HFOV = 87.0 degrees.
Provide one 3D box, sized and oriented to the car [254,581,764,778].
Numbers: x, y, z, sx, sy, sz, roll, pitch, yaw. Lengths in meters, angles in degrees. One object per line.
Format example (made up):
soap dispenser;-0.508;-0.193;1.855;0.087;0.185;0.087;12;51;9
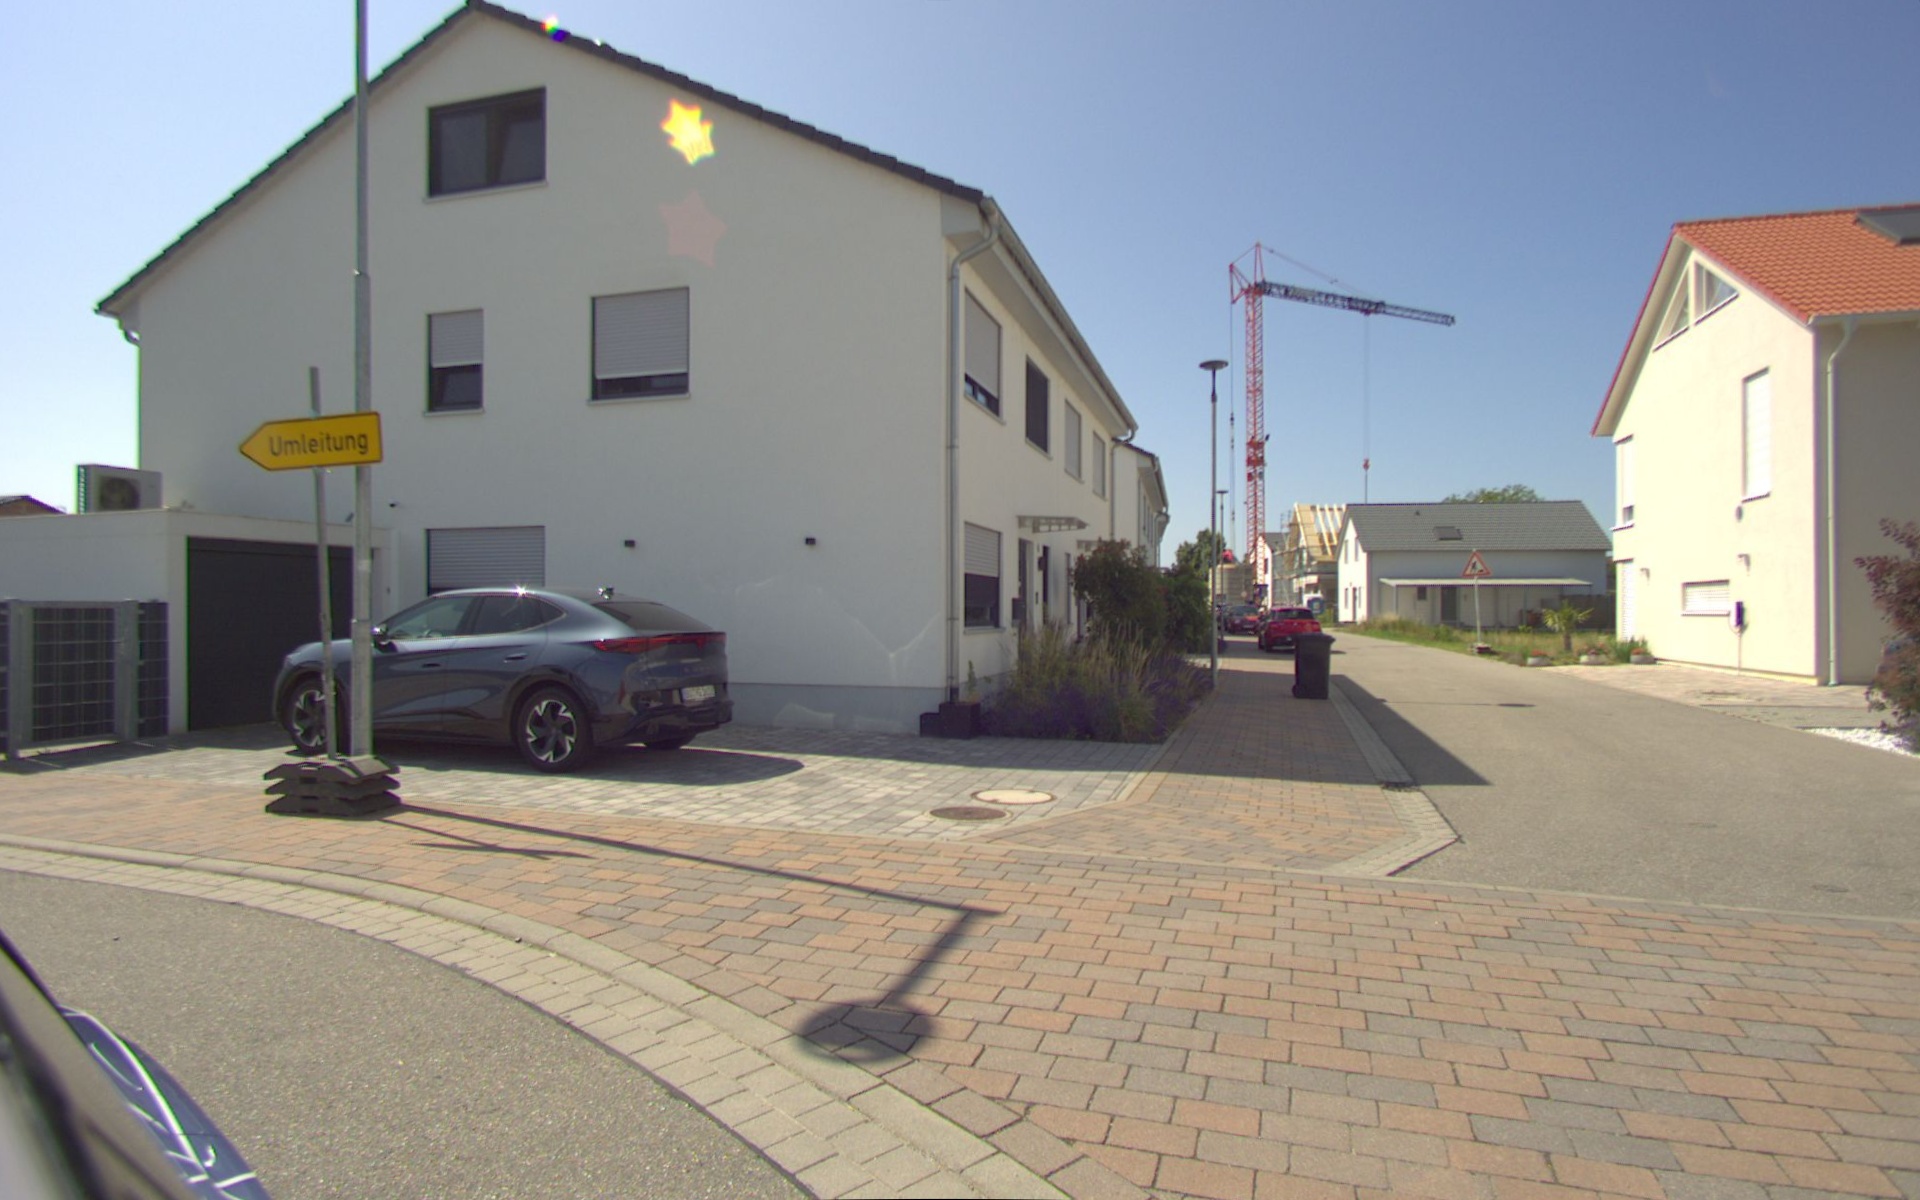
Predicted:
car;-4.267;0.673;9.711;4.316;1.570;1.948;-1;-2;19

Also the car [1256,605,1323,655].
car;10.773;0.936;33.289;1.895;1.490;3.980;-1;0;16

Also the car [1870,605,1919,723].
car;13.228;0.737;11.385;4.027;1.391;1.745;-1;-1;18

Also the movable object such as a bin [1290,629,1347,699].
movable object such as a bin;5.753;1.019;16.264;0.816;1.072;0.587;-1;0;16

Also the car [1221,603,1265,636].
car;14.641;0.971;52.505;1.784;1.630;3.665;-1;0;10
